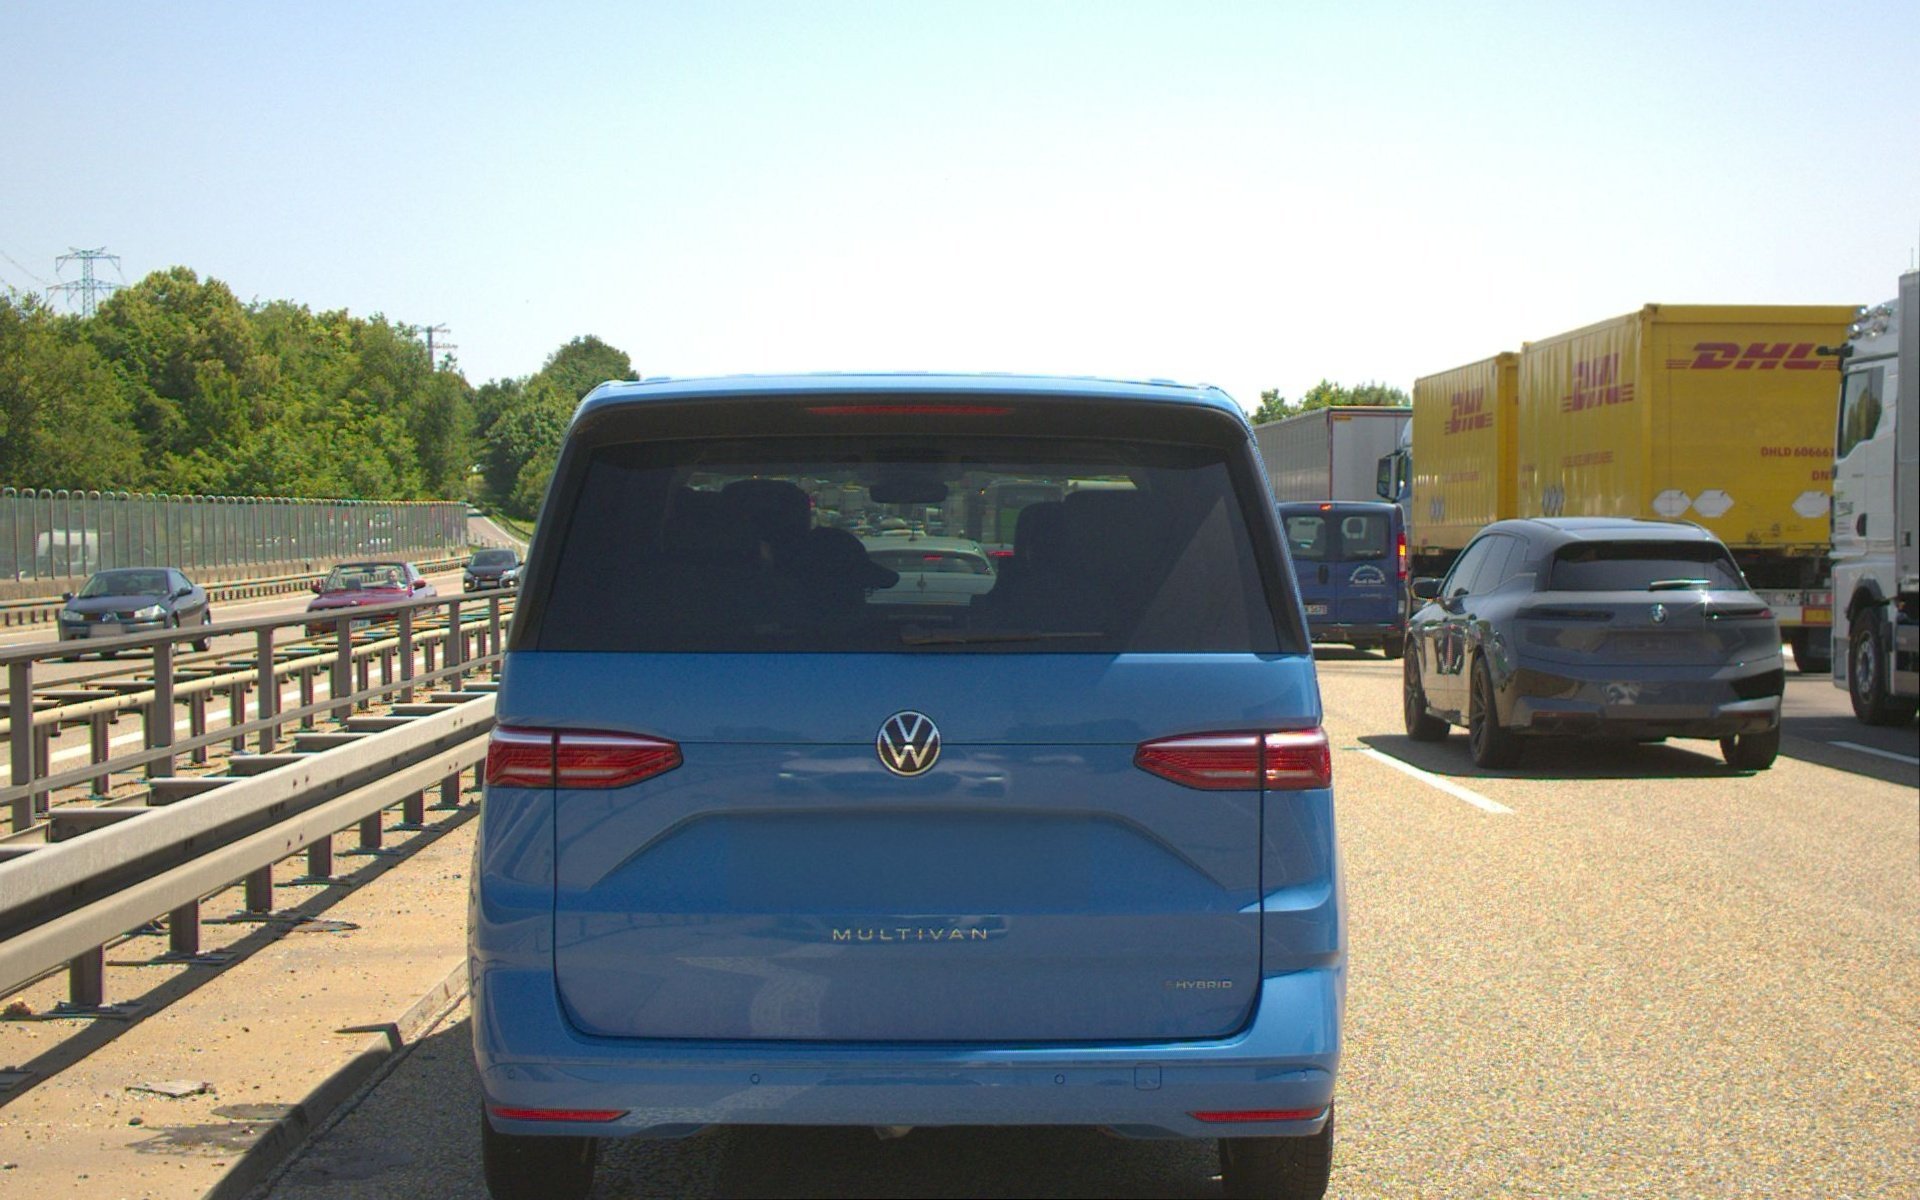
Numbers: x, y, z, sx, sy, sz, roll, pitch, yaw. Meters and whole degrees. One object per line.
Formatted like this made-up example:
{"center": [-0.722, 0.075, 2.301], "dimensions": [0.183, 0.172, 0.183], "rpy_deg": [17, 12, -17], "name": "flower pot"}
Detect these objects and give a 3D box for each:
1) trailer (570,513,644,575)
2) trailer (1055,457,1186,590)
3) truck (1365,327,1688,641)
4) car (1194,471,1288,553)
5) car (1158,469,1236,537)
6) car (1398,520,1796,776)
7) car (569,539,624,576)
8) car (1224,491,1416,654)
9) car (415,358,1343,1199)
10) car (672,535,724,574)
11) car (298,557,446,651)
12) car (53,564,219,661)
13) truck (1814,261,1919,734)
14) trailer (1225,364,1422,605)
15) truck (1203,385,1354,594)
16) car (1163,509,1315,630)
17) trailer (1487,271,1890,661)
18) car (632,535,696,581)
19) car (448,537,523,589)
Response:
{"center": [-15.209, -2.449, 148.503], "dimensions": [2.493, 2.540, 6.774], "rpy_deg": [-2, 1, 0], "name": "trailer"}
{"center": [3.788, -1.799, 83.195], "dimensions": [2.569, 2.980, 10.663], "rpy_deg": [1, 1, 0], "name": "trailer"}
{"center": [8.337, -1.672, 52.160], "dimensions": [2.836, 4.228, 11.011], "rpy_deg": [1, 1, -1], "name": "truck"}
{"center": [7.114, -2.208, 87.324], "dimensions": [1.993, 2.007, 4.000], "rpy_deg": [1, 1, 0], "name": "car"}
{"center": [7.221, -2.955, 105.050], "dimensions": [1.993, 2.007, 4.461], "rpy_deg": [-1, 1, 0], "name": "car"}
{"center": [4.370, 0.265, 24.240], "dimensions": [1.962, 1.639, 4.293], "rpy_deg": [0, 1, -1], "name": "car"}
{"center": [-15.081, -1.785, 142.774], "dimensions": [1.775, 1.403, 4.683], "rpy_deg": [-2, 1, 0], "name": "car"}
{"center": [4.554, -0.382, 44.077], "dimensions": [1.962, 1.986, 4.293], "rpy_deg": [0, 1, -1], "name": "car"}
{"center": [-0.179, 0.424, 8.848], "dimensions": [1.820, 1.851, 4.075], "rpy_deg": [1, 1, 0], "name": "car"}
{"center": [-10.559, -1.845, 138.546], "dimensions": [1.668, 1.443, 4.000], "rpy_deg": [-3, 1, 1], "name": "car"}
{"center": [-9.140, 0.029, 53.740], "dimensions": [1.597, 1.313, 4.342], "rpy_deg": [-2, 1, -1], "name": "car"}
{"center": [-12.903, 0.165, 54.026], "dimensions": [1.597, 1.345, 4.180], "rpy_deg": [-3, 1, -1], "name": "car"}
{"center": [8.751, -0.742, 23.996], "dimensions": [2.656, 3.635, 11.012], "rpy_deg": [0, 1, -1], "name": "truck"}
{"center": [7.245, -2.282, 70.142], "dimensions": [2.637, 4.501, 11.302], "rpy_deg": [1, 1, -1], "name": "trailer"}
{"center": [7.115, -2.430, 77.665], "dimensions": [2.667, 4.469, 6.850], "rpy_deg": [1, 1, 0], "name": "truck"}
{"center": [4.290, -0.497, 53.354], "dimensions": [1.993, 1.809, 4.000], "rpy_deg": [0, 1, -1], "name": "car"}
{"center": [8.650, -1.525, 42.085], "dimensions": [2.864, 4.224, 9.012], "rpy_deg": [1, 1, -1], "name": "trailer"}
{"center": [-10.151, -1.450, 118.206], "dimensions": [1.791, 1.473, 3.989], "rpy_deg": [-3, 1, 0], "name": "car"}
{"center": [-14.594, -1.167, 106.002], "dimensions": [1.729, 1.486, 4.420], "rpy_deg": [-2, 1, -1], "name": "car"}
